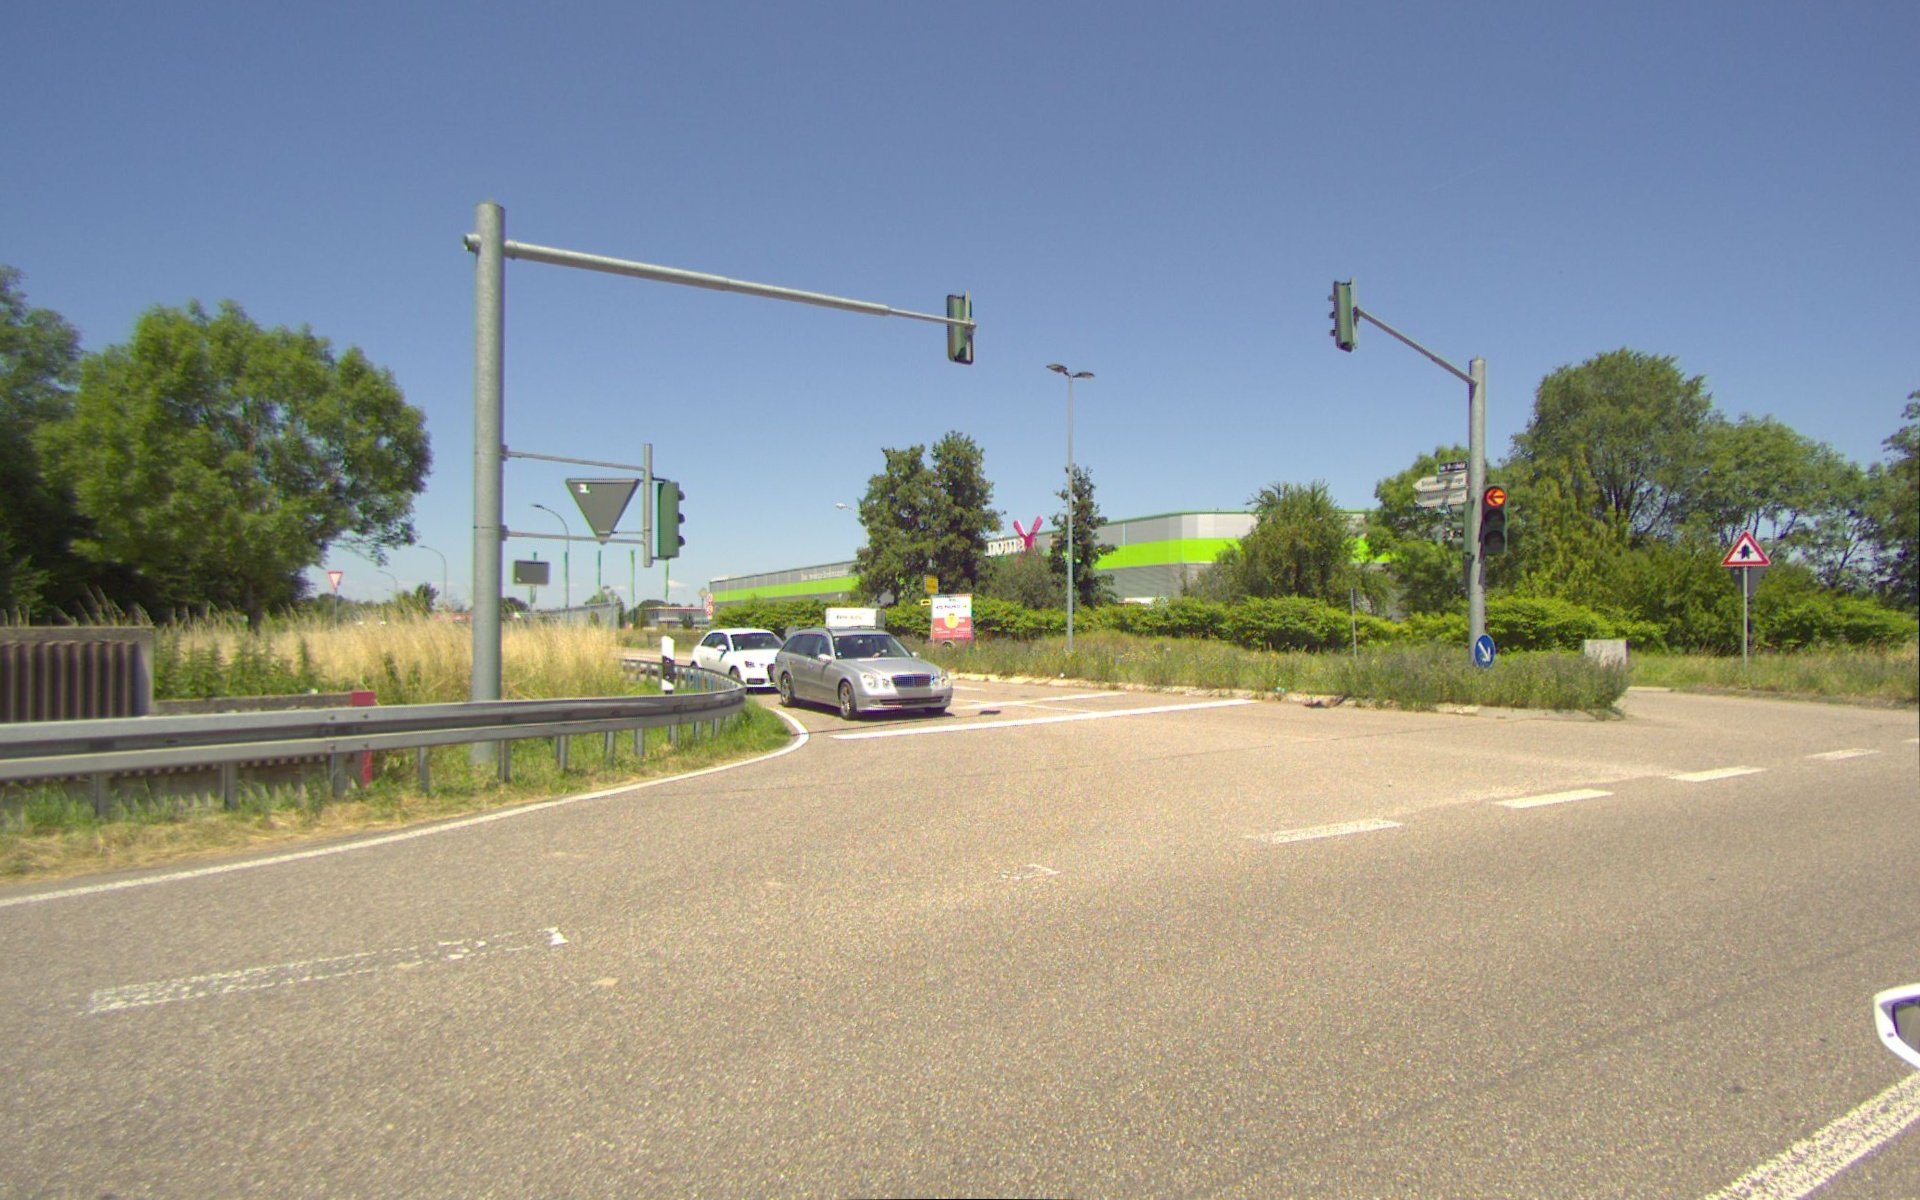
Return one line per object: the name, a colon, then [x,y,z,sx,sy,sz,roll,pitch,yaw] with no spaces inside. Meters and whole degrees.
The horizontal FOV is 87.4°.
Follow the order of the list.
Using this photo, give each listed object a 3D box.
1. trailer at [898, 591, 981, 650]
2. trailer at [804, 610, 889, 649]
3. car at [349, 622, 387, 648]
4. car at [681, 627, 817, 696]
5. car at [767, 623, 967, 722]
trailer: [-0.976,0.993,49.127,3.682,2.801,1.828,0,-1,14]
trailer: [-5.507,1.419,48.812,3.682,1.815,1.828,0,-1,15]
car: [-40.162,2.333,68.135,1.755,1.646,4.189,0,-1,-38]
car: [-5.078,1.391,23.798,1.754,1.417,3.924,0,-1,-36]
car: [-1.837,1.182,17.967,1.854,1.476,4.936,1,-1,-27]
